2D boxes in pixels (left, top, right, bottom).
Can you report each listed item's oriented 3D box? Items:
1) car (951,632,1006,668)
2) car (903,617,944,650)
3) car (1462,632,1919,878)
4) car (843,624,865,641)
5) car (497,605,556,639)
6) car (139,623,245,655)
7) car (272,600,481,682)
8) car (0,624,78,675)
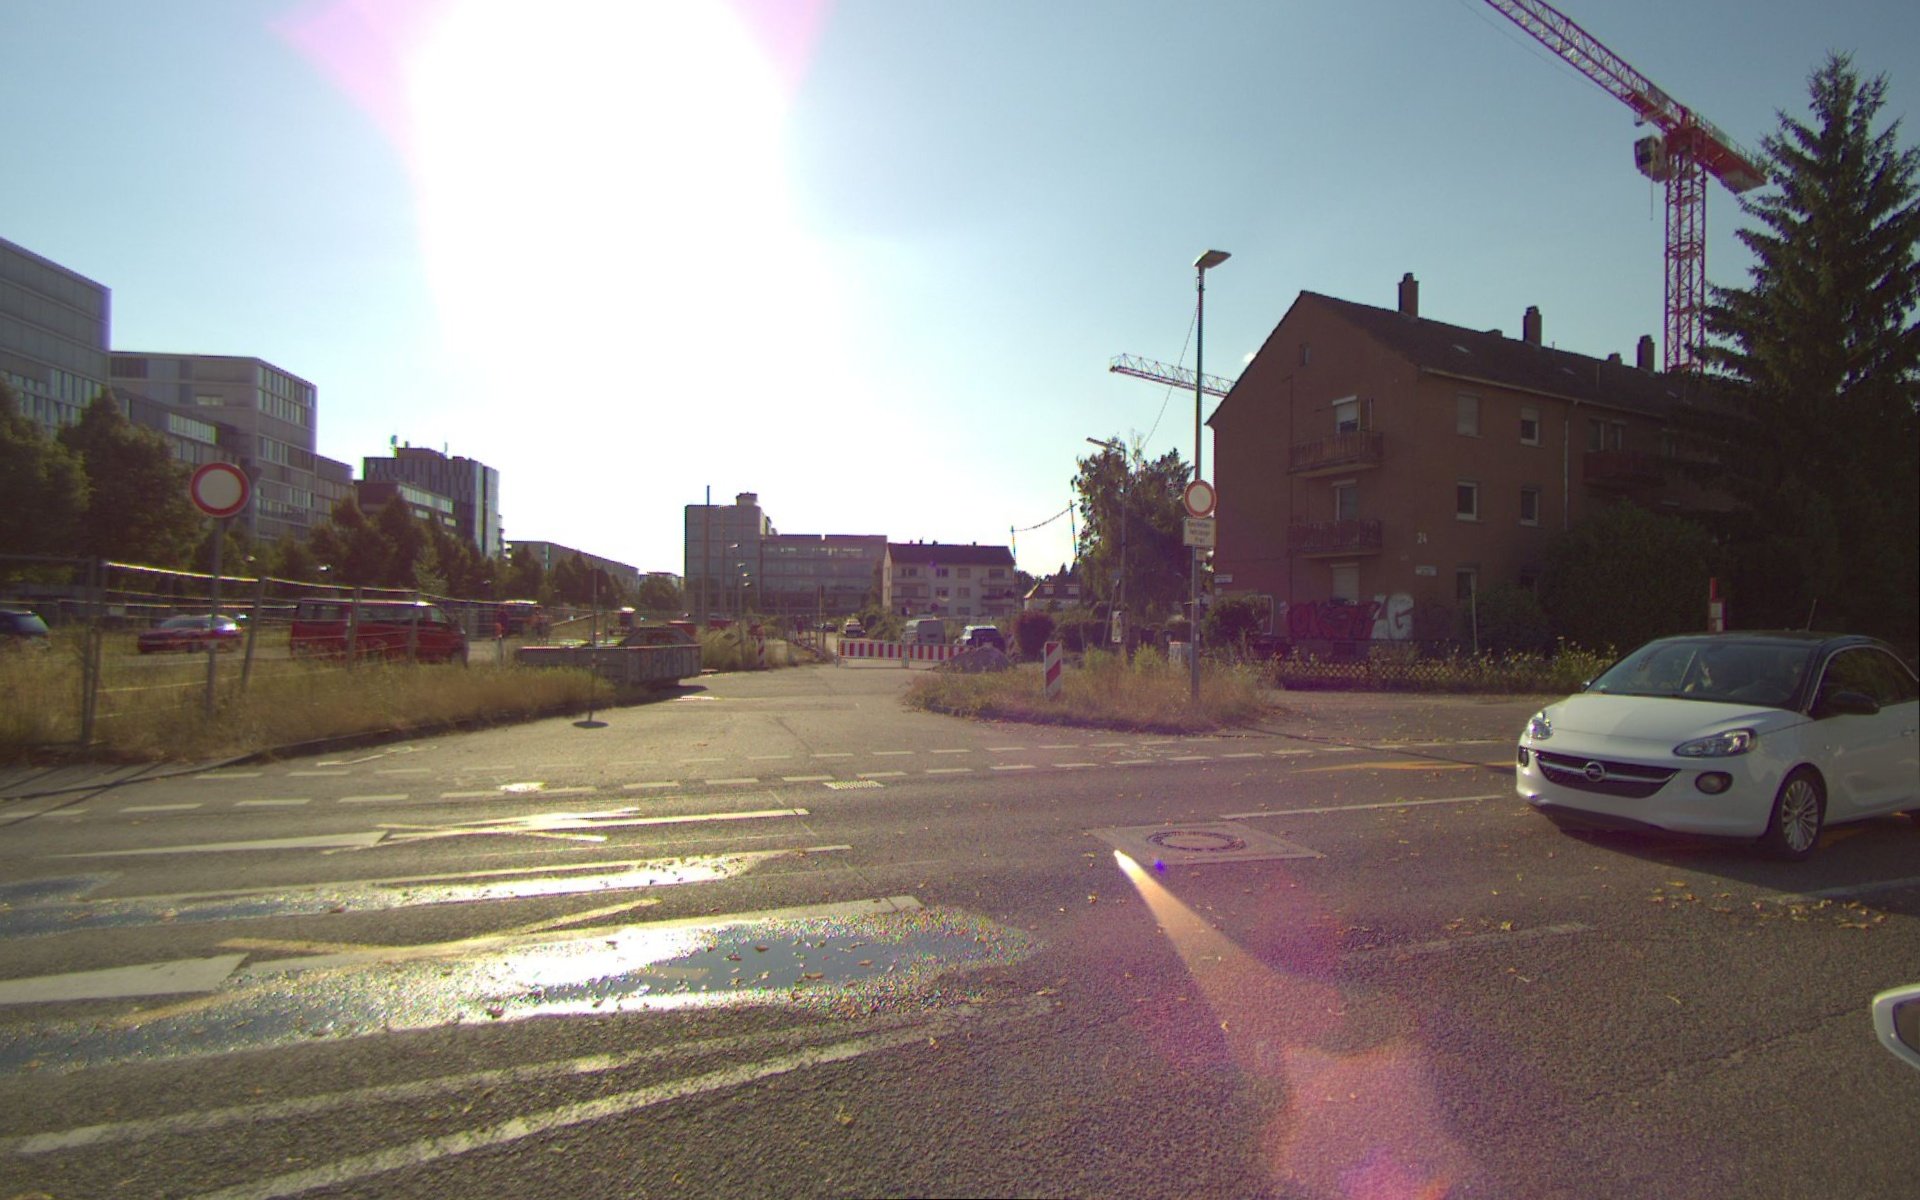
[{"bbox_3d":[0.817,2.285,46.810,1.963,1.572,3.995,0,-1,-8],"label":"car"},{"bbox_3d":[-2.292,2.022,62.293,1.836,1.973,3.991,1,-1,-12],"label":"car"},{"bbox_3d":[5.728,0.969,7.535,3.578,1.440,1.753,1,-2,-27],"label":"car"},{"bbox_3d":[-11.886,3.620,112.173,2.114,1.862,4.354,1,-1,-10],"label":"car"},{"bbox_3d":[-32.859,1.676,76.322,2.488,2.472,5.928,1,-1,-7],"label":"car"},{"bbox_3d":[-29.941,1.492,39.307,1.306,1.181,3.934,1,-1,-3],"label":"car"},{"bbox_3d":[-16.006,1.088,27.998,1.959,2.040,5.316,0,-1,12],"label":"car"},{"bbox_3d":[-27.376,1.347,27.679,4.188,1.381,1.987,1,-1,-26],"label":"car"}]
